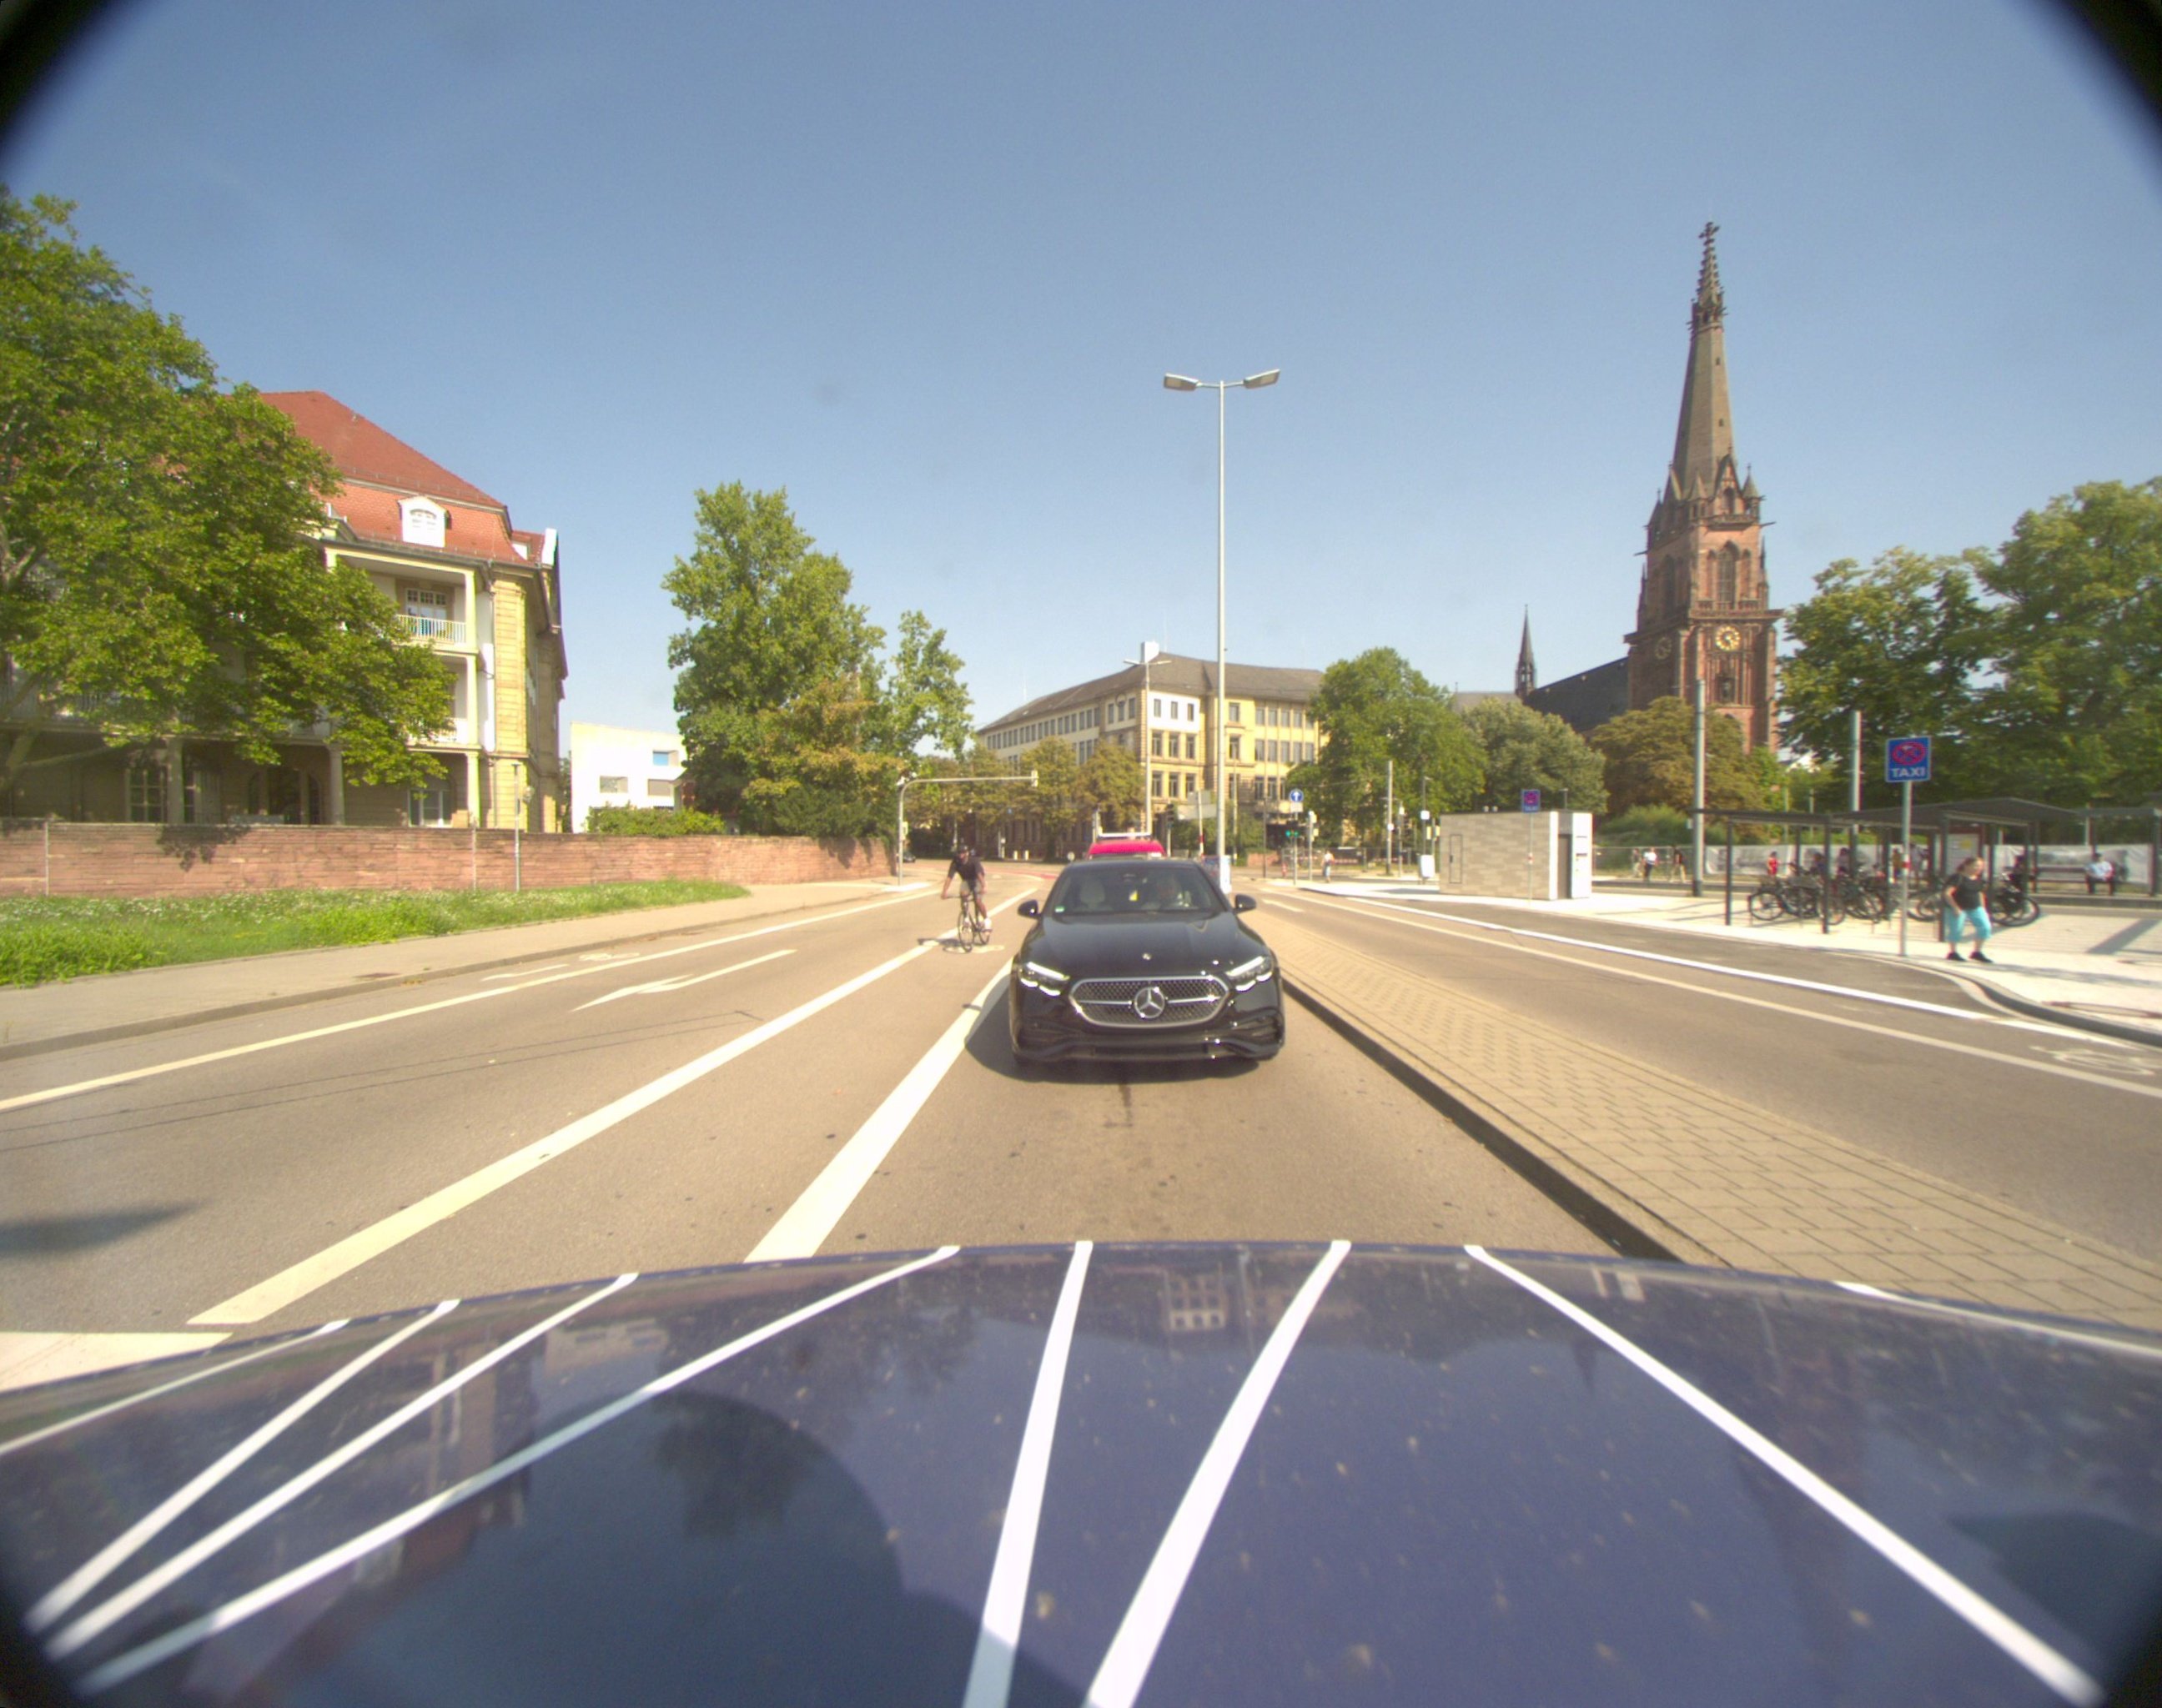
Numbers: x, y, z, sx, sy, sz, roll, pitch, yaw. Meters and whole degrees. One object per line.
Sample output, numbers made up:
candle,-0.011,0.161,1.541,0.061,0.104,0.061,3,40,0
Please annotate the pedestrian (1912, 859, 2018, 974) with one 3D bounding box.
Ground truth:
pedestrian,12.551,0.872,10.800,0.754,1.556,0.666,1,1,-15

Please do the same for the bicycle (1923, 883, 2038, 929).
bicycle,20.025,1.135,16.952,0.410,0.887,1.584,-1,1,-31

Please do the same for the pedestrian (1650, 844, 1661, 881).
pedestrian,26.763,0.390,35.378,0.394,1.685,0.244,-1,2,-31

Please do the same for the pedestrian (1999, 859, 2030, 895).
pedestrian,32.229,0.784,26.235,0.468,1.190,0.573,-1,1,-31

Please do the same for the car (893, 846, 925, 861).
car,-20.109,-0.054,88.481,2.003,1.601,4.235,-4,3,-37

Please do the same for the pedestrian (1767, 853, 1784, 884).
pedestrian,29.522,0.609,32.288,0.394,1.310,0.414,-3,1,-27

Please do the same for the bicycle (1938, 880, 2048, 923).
bicycle,21.187,1.078,17.691,0.410,0.887,1.584,-1,1,-31

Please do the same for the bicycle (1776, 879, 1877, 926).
bicycle,17.060,1.082,17.428,0.422,0.962,1.584,-1,1,-31

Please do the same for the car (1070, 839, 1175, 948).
car,0.824,0.631,14.796,1.736,1.808,4.278,0,1,4

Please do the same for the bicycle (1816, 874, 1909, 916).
bicycle,20.063,1.031,19.535,0.453,0.972,1.584,-2,2,-31

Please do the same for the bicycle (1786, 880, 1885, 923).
bicycle,17.694,1.101,17.853,0.402,0.887,1.584,-1,1,-31

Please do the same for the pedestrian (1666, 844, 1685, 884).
pedestrian,25.988,0.427,33.236,0.517,1.697,0.504,1,2,26

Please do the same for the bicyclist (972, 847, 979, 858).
bicyclist,-13.547,-0.223,97.601,0.667,1.332,0.923,0,1,-27

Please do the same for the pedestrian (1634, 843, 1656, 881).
pedestrian,26.160,0.353,35.255,0.716,1.738,0.389,0,1,0

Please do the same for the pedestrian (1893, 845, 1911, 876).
pedestrian,32.134,0.254,29.733,0.440,1.217,0.382,-3,1,-31

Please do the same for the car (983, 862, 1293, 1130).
car,0.501,0.899,7.007,1.824,1.432,4.874,-2,1,4

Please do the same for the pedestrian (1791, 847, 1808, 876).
pedestrian,29.908,0.312,31.631,0.440,1.217,0.382,-3,1,-31

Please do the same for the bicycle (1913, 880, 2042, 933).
bicycle,19.272,1.104,16.375,0.534,0.981,1.709,-1,1,-31

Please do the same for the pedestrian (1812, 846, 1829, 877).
pedestrian,30.306,0.302,31.132,0.440,1.217,0.382,-3,1,-31

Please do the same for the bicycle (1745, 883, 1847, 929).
bicycle,15.850,1.137,16.894,0.402,0.887,1.584,-1,1,-31

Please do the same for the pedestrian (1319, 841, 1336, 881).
pedestrian,12.568,0.344,38.713,0.732,2.002,0.715,0,1,12

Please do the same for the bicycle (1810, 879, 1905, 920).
bicycle,19.120,1.102,18.747,0.402,0.887,1.584,-1,1,-31

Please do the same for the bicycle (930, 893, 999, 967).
bicycle,-1.864,1.191,12.481,0.774,0.970,2.150,0,1,1

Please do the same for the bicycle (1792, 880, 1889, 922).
bicycle,18.120,1.096,18.168,0.410,0.887,1.584,-1,1,-31

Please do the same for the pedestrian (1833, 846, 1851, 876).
pedestrian,30.930,0.285,30.884,0.440,1.217,0.382,-3,1,-31

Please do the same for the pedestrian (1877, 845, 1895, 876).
pedestrian,31.895,0.258,30.095,0.440,1.217,0.382,-3,1,-31

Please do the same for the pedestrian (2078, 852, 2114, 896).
pedestrian,33.048,0.646,24.740,0.663,1.387,0.642,-1,2,-34

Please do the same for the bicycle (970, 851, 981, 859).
bicycle,-13.564,0.083,97.654,0.667,0.951,2.082,0,1,-27

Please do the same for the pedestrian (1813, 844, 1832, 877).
pedestrian,29.824,0.270,30.562,0.440,1.310,0.434,-3,1,-30

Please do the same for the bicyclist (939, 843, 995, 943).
bicyclist,-1.851,0.613,12.468,0.774,1.569,0.990,0,1,0
